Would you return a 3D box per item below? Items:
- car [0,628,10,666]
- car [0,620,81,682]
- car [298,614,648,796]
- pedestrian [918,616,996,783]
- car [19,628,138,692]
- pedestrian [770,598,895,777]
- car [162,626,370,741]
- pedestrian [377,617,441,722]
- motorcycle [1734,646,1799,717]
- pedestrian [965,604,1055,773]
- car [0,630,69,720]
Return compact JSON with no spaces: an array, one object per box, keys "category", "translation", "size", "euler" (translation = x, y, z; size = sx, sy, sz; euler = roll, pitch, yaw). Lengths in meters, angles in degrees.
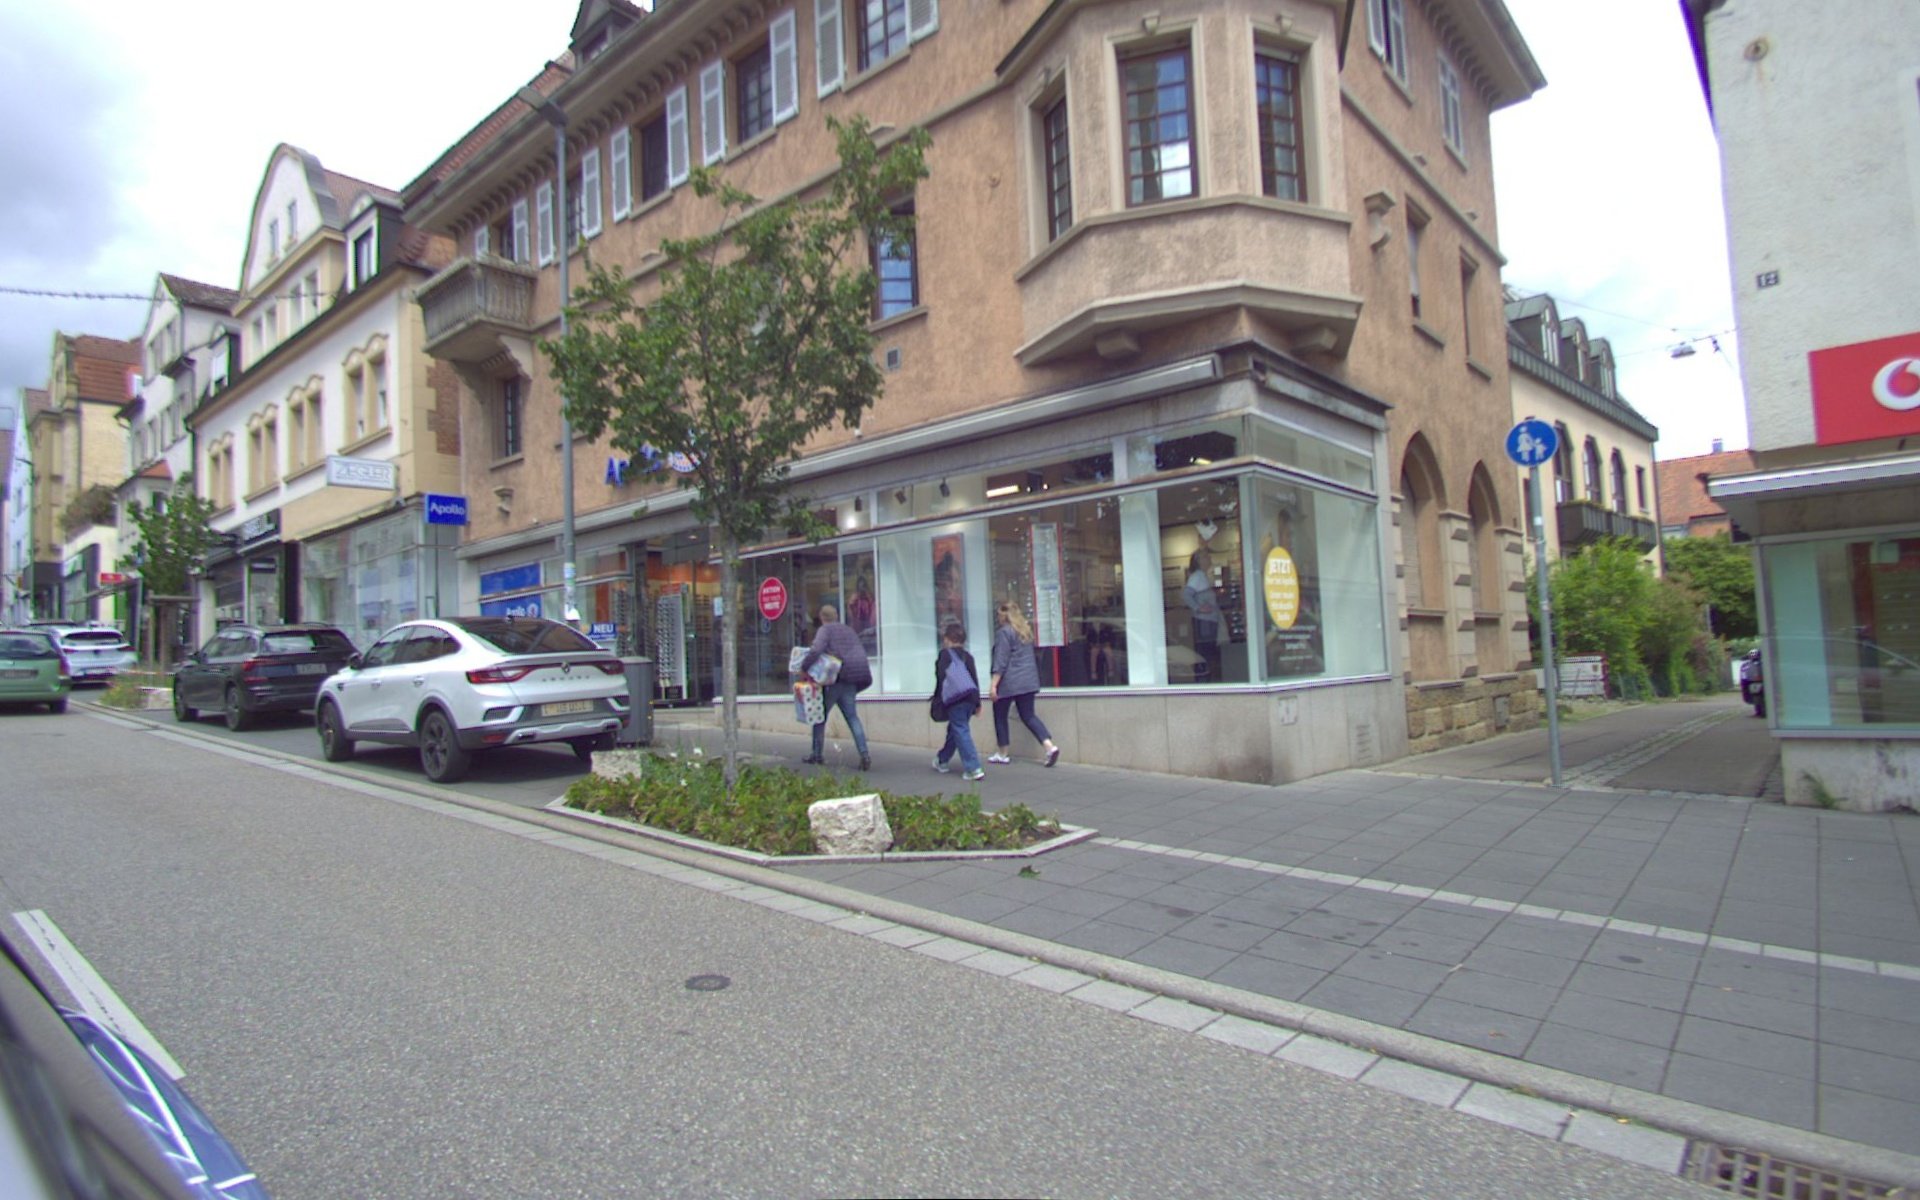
[{"category":"car","translation":[-39.934,1.888,41.035],"size":[3.527,1.536,1.668],"euler":[-1,-2,41]},{"category":"car","translation":[-27.064,1.425,29.431],"size":[3.990,1.692,1.709],"euler":[-1,-2,41]},{"category":"car","translation":[-5.396,0.968,10.942],"size":[4.450,1.585,1.708],"euler":[-1,-2,39]},{"category":"pedestrian","translation":[-0.026,0.900,9.406],"size":[0.528,1.489,0.491],"euler":[-2,-2,39]},{"category":"car","translation":[-21.462,1.403,24.601],"size":[3.501,1.442,1.709],"euler":[-1,-2,41]},{"category":"pedestrian","translation":[-1.273,0.837,10.143],"size":[0.905,1.679,0.862],"euler":[-2,-2,39]},{"category":"car","translation":[-10.968,1.206,15.899],"size":[3.959,1.538,1.648],"euler":[-1,0,39]},{"category":"pedestrian","translation":[-8.713,1.084,15.997],"size":[0.650,1.585,0.621],"euler":[-2,1,41]},{"category":"motorcycle","translation":[14.628,1.490,18.343],"size":[2.158,1.200,0.645],"euler":[6,-6,-44]},{"category":"pedestrian","translation":[0.491,0.840,9.961],"size":[0.641,1.594,0.607],"euler":[-2,-2,39]},{"category":"car","translation":[-17.687,1.303,18.390],"size":[4.151,1.512,1.664],"euler":[-2,-3,41]}]
